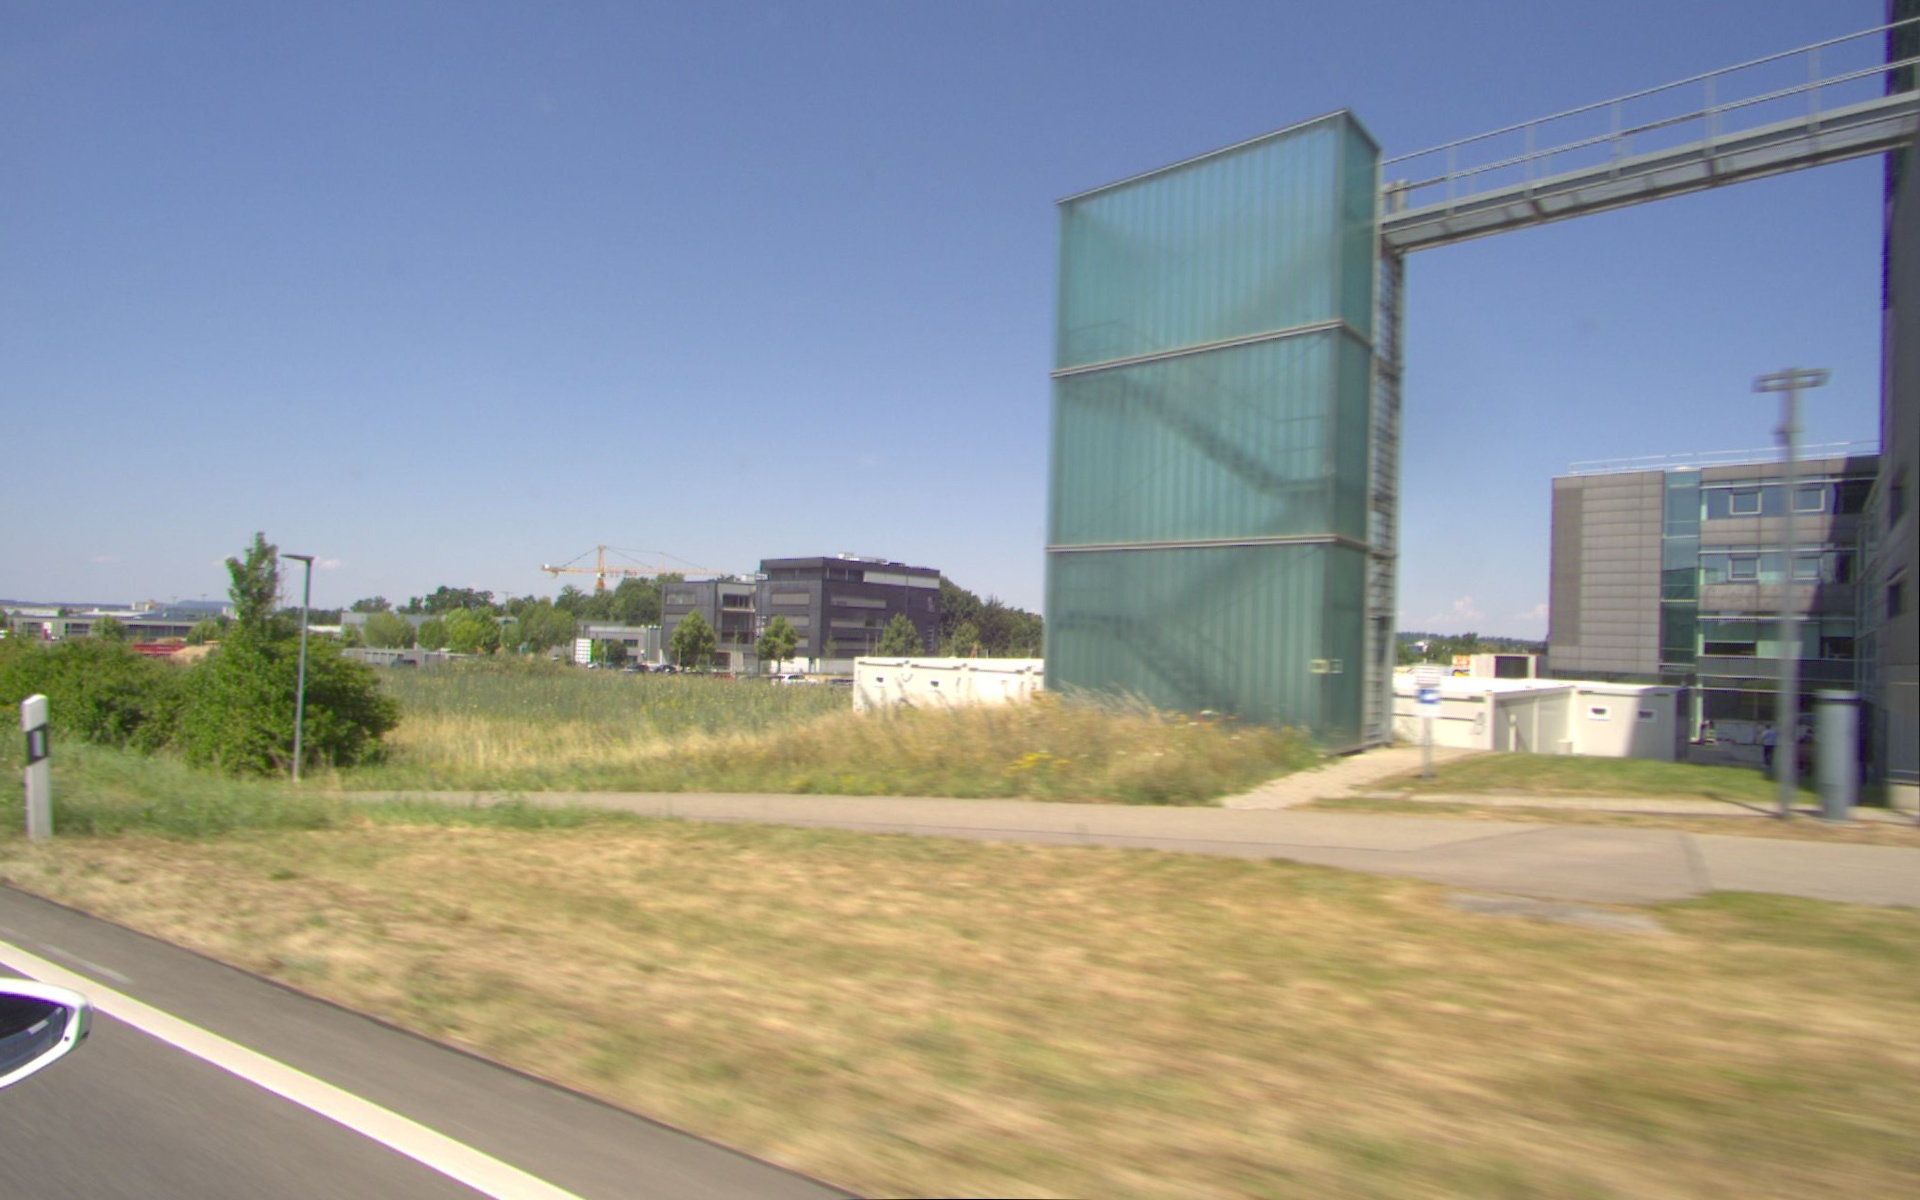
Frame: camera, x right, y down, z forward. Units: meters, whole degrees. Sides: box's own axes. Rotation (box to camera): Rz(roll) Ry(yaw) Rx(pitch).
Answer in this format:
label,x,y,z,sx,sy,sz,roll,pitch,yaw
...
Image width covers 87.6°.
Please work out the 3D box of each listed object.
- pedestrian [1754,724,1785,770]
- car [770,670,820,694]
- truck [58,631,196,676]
label,x,y,z,sx,sy,sz,roll,pitch,yaw
pedestrian,33.208,6.021,41.086,0.943,1.779,0.745,-1,-3,42
car,-14.638,7.290,89.169,1.977,1.938,3.971,0,-4,41
truck,-78.139,5.046,94.238,9.287,3.730,3.116,4,-3,-29
